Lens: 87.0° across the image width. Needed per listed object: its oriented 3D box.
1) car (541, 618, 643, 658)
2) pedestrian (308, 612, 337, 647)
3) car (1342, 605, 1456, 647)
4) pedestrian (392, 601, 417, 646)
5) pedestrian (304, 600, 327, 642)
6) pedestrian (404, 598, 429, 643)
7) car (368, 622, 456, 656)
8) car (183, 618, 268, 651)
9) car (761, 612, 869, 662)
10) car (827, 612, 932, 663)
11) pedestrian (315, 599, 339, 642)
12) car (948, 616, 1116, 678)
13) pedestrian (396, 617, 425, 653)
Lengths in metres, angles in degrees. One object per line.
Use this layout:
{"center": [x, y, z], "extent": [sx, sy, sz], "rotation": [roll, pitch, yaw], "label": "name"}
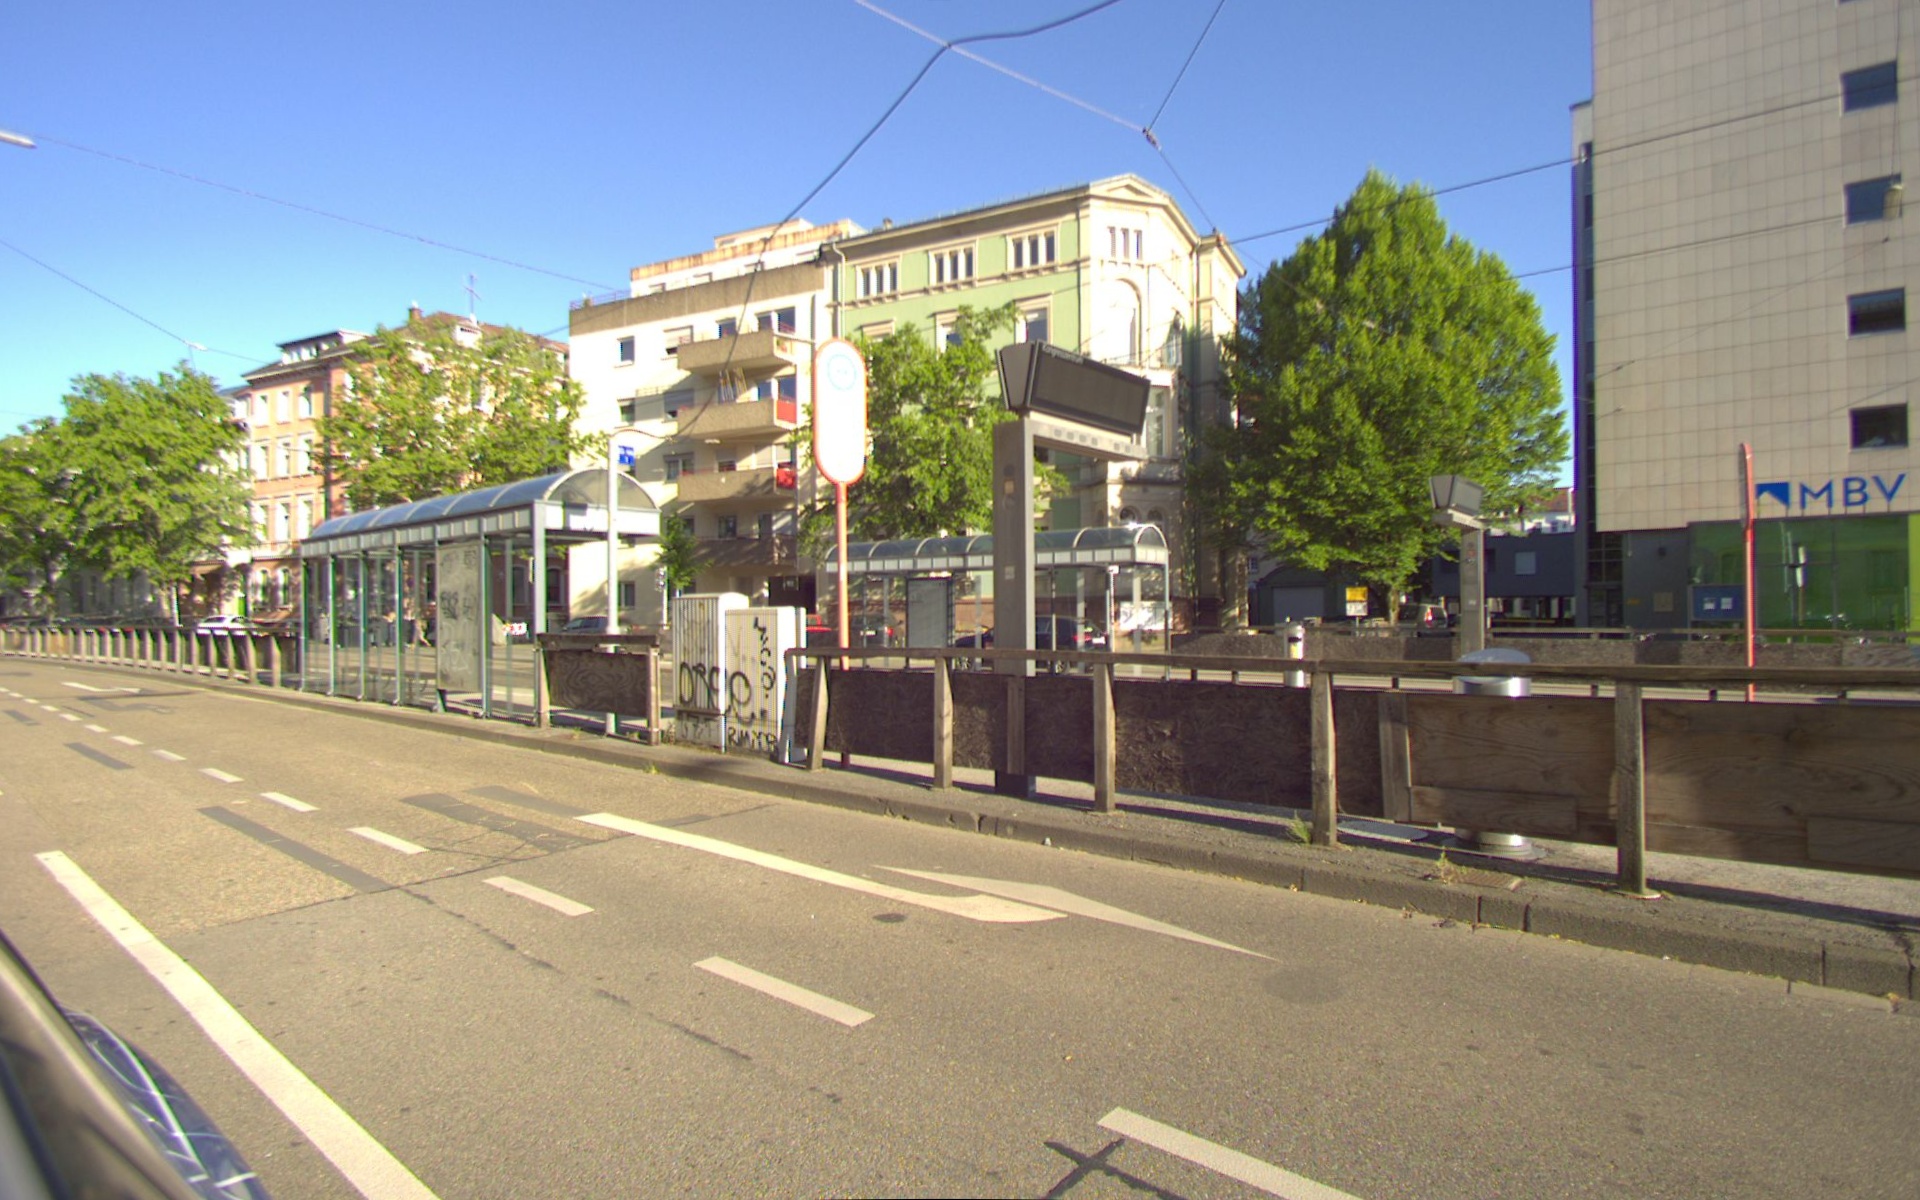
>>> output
{"center": [-14.013, 1.419, 38.524], "extent": [3.725, 1.438, 1.637], "rotation": [-1, -1, 29], "label": "car"}
{"center": [-31.884, 1.471, 50.621], "extent": [1.016, 1.733, 0.846], "rotation": [-1, -2, 32], "label": "pedestrian"}
{"center": [15.769, 0.896, 36.473], "extent": [1.544, 1.423, 3.430], "rotation": [-1, 0, -38], "label": "car"}
{"center": [-27.886, 1.179, 50.778], "extent": [0.753, 2.224, 0.804], "rotation": [-1, -2, 30], "label": "pedestrian"}
{"center": [-34.225, 1.100, 53.732], "extent": [0.755, 2.224, 0.803], "rotation": [-1, -2, 36], "label": "pedestrian"}
{"center": [-26.913, 1.005, 50.100], "extent": [0.753, 2.224, 0.804], "rotation": [-1, -2, 30], "label": "pedestrian"}
{"center": [-23.670, 1.650, 43.670], "extent": [3.986, 1.407, 1.592], "rotation": [-1, -2, 32], "label": "car"}
{"center": [-39.516, 1.839, 54.560], "extent": [1.825, 1.721, 4.130], "rotation": [0, -1, -5], "label": "car"}
{"center": [-4.884, 1.231, 34.618], "extent": [1.754, 1.594, 3.965], "rotation": [-1, -1, 26], "label": "car"}
{"center": [-2.600, 1.201, 33.570], "extent": [1.754, 1.594, 3.965], "rotation": [-1, -1, 26], "label": "car"}
{"center": [-32.933, 1.084, 52.636], "extent": [0.753, 2.224, 0.804], "rotation": [-1, -2, 30], "label": "pedestrian"}
{"center": [1.750, 1.135, 25.069], "extent": [3.870, 1.419, 1.650], "rotation": [-1, -2, 35], "label": "car"}
{"center": [-25.211, 1.591, 46.419], "extent": [0.879, 1.641, 0.869], "rotation": [0, -1, -1], "label": "pedestrian"}
